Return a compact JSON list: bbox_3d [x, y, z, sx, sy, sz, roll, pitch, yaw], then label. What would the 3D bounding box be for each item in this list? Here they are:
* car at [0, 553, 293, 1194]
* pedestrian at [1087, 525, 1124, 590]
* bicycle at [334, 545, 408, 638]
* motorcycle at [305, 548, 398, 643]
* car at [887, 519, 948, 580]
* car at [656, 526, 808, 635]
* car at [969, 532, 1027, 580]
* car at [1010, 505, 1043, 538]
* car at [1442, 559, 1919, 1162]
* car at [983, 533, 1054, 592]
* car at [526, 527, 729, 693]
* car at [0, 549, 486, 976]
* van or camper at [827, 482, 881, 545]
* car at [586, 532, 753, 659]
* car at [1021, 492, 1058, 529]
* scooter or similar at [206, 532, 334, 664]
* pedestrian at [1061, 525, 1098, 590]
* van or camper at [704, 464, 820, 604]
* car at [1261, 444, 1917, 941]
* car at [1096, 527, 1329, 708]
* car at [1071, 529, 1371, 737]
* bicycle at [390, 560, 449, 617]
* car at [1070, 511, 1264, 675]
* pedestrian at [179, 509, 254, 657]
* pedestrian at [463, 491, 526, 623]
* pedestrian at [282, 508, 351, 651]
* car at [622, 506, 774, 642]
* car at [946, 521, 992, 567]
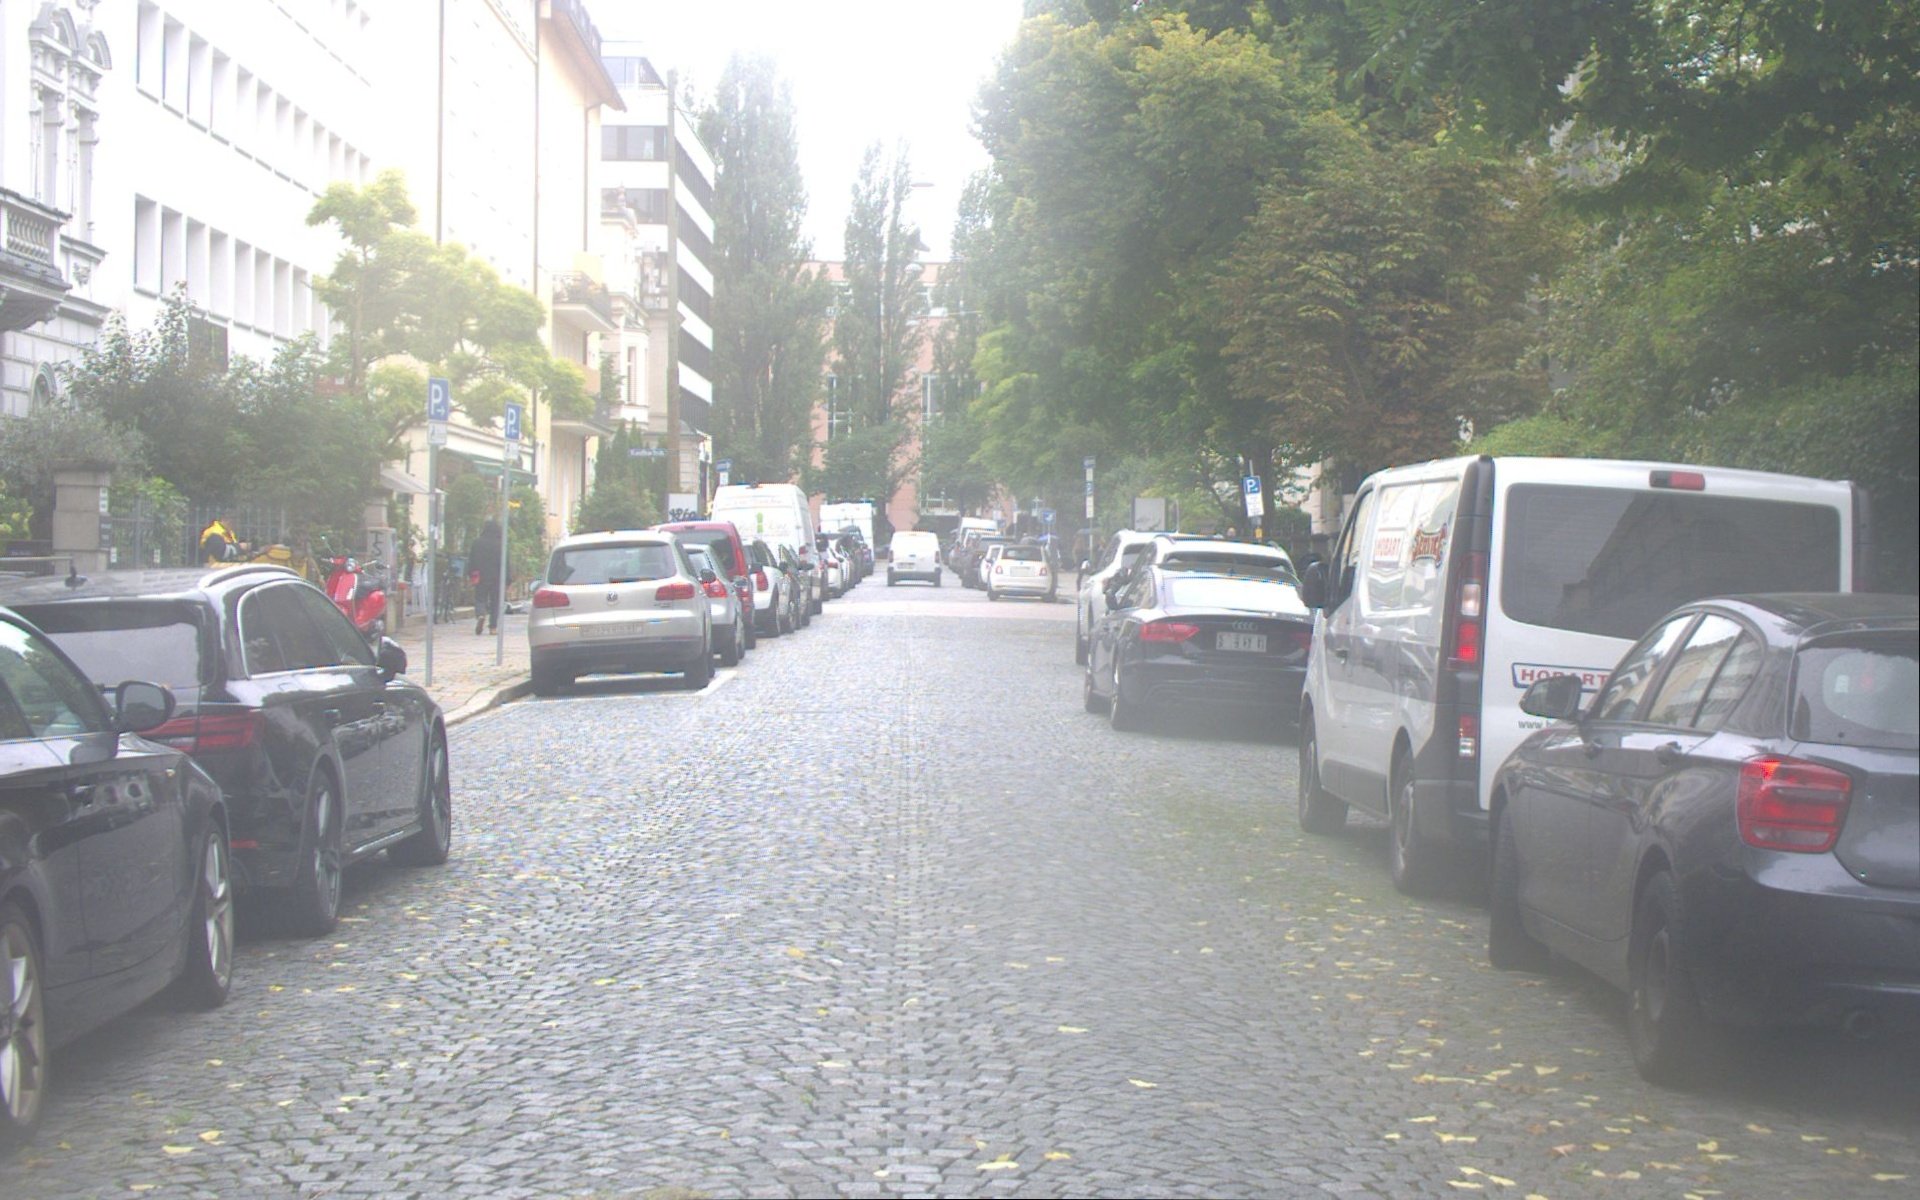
[{"bbox_3d":[-3.146,0.638,9.533,1.783,1.412,4.497,-3,1,-2],"label":"car"},{"bbox_3d":[4.562,-1.330,107.685,0.856,2.007,0.991,0,1,-18],"label":"pedestrian"},{"bbox_3d":[-7.995,-0.129,46.631,0.655,1.217,2.090,0,1,-19],"label":"bicycle"},{"bbox_3d":[-7.857,-0.076,44.466,0.623,1.192,1.864,1,1,8],"label":"motorcycle"},{"bbox_3d":[-1.410,-1.706,116.343,1.993,2.007,4.000,0,1,0],"label":"car"},{"bbox_3d":[-3.551,-0.324,54.245,1.873,1.574,4.208,3,1,3],"label":"car"},{"bbox_3d":[1.214,-1.436,110.946,1.790,1.515,4.000,0,1,0],"label":"car"},{"bbox_3d":[4.218,-4.976,217.681,1.993,2.007,4.000,1,1,0],"label":"car"},{"bbox_3d":[2.800,0.675,11.016,1.837,1.485,4.421,3,1,0],"label":"car"},{"bbox_3d":[1.517,-1.004,90.259,1.790,1.515,4.000,0,1,0],"label":"car"},{"bbox_3d":[-3.472,0.055,36.560,1.873,1.574,4.256,-2,1,-3],"label":"car"},{"bbox_3d":[-3.262,0.561,14.308,1.887,1.412,4.407,-3,1,0],"label":"car"},{"bbox_3d":[-4.719,-3.841,153.740,2.256,2.733,5.098,1,1,0],"label":"van or camper"},{"bbox_3d":[-3.547,-0.098,42.599,1.873,1.446,4.209,-1,1,-3],"label":"car"},{"bbox_3d":[4.461,-5.026,193.119,1.993,2.007,4.000,1,1,0],"label":"car"},{"bbox_3d":[-7.793,-0.049,38.941,0.941,1.437,2.657,0,1,-1],"label":"scooter or similar"},{"bbox_3d":[3.713,-1.335,107.248,0.856,2.007,0.991,0,1,-18],"label":"pedestrian"},{"bbox_3d":[-3.944,-1.331,69.179,1.993,2.643,4.000,-2,1,0],"label":"van or camper"},{"bbox_3d":[2.775,0.324,16.501,1.873,1.921,5.165,3,1,-3],"label":"car"},{"bbox_3d":[2.424,0.123,33.971,1.817,1.574,4.208,3,1,-1],"label":"car"},{"bbox_3d":[2.076,0.208,28.640,1.873,1.498,4.512,3,1,-3],"label":"car"},{"bbox_3d":[-8.363,-0.183,53.250,0.502,0.836,2.089,0,1,3],"label":"bicycle"},{"bbox_3d":[2.376,-0.120,40.544,1.873,1.727,4.593,3,1,-1],"label":"car"},{"bbox_3d":[-8.524,-0.201,39.419,0.717,1.682,0.695,0,1,-1],"label":"pedestrian"},{"bbox_3d":[-6.877,-0.635,50.777,0.792,1.911,0.759,1,1,-1],"label":"pedestrian"},{"bbox_3d":[-7.663,-0.247,40.944,0.693,1.682,0.720,0,1,-1],"label":"pedestrian"},{"bbox_3d":[-3.695,-0.396,49.060,1.873,1.770,4.123,-3,1,-2],"label":"car"},{"bbox_3d":[0.405,-2.533,154.183,1.993,2.007,4.000,1,1,0],"label":"car"}]
